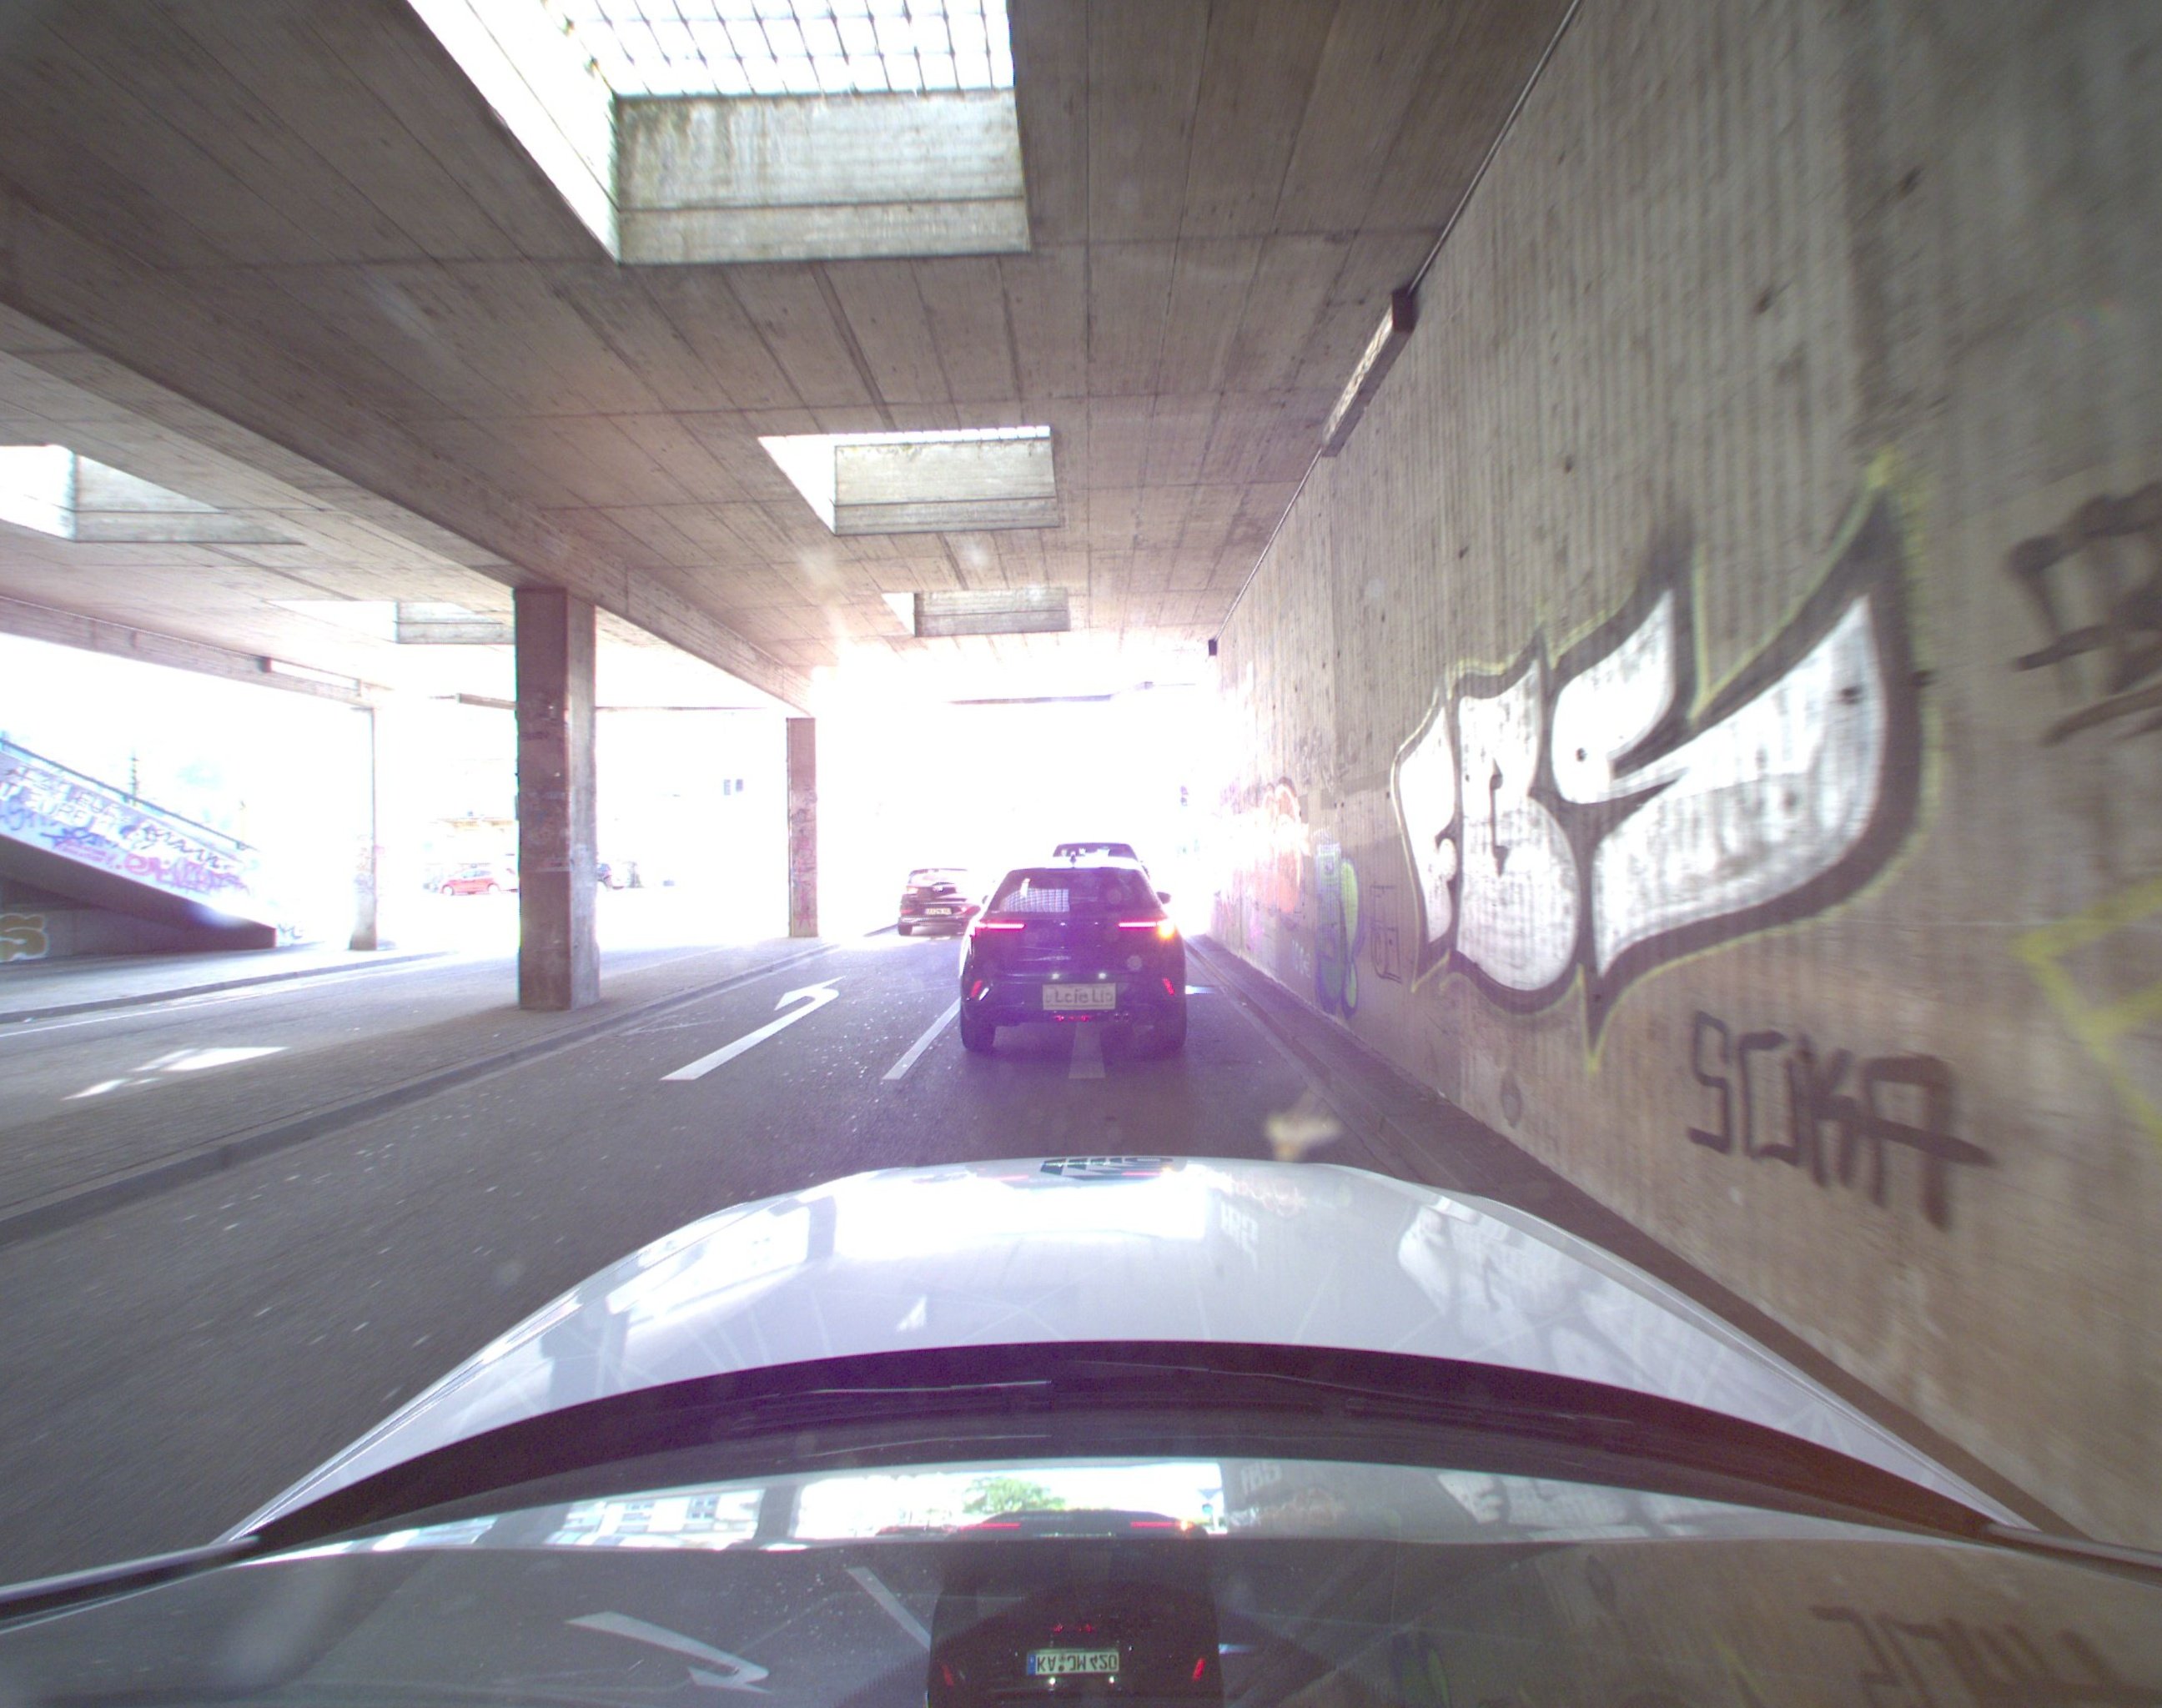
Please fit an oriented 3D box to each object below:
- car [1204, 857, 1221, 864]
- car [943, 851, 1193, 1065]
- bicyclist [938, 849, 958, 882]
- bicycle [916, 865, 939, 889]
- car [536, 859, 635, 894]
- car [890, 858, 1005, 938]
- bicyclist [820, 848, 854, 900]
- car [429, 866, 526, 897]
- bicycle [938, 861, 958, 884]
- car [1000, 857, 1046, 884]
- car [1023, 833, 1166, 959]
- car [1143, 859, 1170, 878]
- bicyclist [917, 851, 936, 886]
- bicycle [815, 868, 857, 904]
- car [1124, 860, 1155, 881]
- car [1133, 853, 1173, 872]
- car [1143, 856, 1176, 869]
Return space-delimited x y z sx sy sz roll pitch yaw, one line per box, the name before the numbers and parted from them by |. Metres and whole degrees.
car | 30.920 1.594 191.705 3.930 1.397 1.517 -4 -1 3
car | -0.033 0.750 7.714 1.775 1.517 3.757 -1 0 2
bicyclist | -6.895 0.599 42.330 0.779 1.660 1.032 -1 0 2
bicycle | -7.250 1.085 38.471 0.523 1.090 1.864 -1 0 7
car | -27.100 1.226 44.642 4.144 1.724 1.964 -1 1 2
car | -2.751 0.854 17.732 1.795 1.451 4.324 -2 0 -1
bicyclist | -8.273 0.656 27.601 0.742 1.711 0.968 -1 1 4
car | -32.960 1.486 44.541 3.863 1.540 1.900 -1 1 2
bicycle | -6.907 0.948 42.387 0.539 1.123 2.060 -1 0 4
car | -3.230 0.915 45.928 1.646 1.441 3.474 -1 0 12
car | 0.099 0.641 14.790 2.128 1.835 4.935 -1 0 -3
car | 6.685 1.274 71.737 1.693 1.512 3.877 -3 -1 13
bicyclist | -7.297 0.693 38.587 0.602 1.632 0.911 -1 0 7
bicycle | -8.271 1.062 27.576 0.695 1.090 1.863 -1 2 5
car | 4.552 1.250 62.802 1.695 1.452 3.865 -1 0 14
car | 10.216 1.166 115.553 5.267 2.545 1.976 -2 -1 -13
car | 12.856 1.366 133.086 4.904 2.083 1.970 -1 -1 -23
